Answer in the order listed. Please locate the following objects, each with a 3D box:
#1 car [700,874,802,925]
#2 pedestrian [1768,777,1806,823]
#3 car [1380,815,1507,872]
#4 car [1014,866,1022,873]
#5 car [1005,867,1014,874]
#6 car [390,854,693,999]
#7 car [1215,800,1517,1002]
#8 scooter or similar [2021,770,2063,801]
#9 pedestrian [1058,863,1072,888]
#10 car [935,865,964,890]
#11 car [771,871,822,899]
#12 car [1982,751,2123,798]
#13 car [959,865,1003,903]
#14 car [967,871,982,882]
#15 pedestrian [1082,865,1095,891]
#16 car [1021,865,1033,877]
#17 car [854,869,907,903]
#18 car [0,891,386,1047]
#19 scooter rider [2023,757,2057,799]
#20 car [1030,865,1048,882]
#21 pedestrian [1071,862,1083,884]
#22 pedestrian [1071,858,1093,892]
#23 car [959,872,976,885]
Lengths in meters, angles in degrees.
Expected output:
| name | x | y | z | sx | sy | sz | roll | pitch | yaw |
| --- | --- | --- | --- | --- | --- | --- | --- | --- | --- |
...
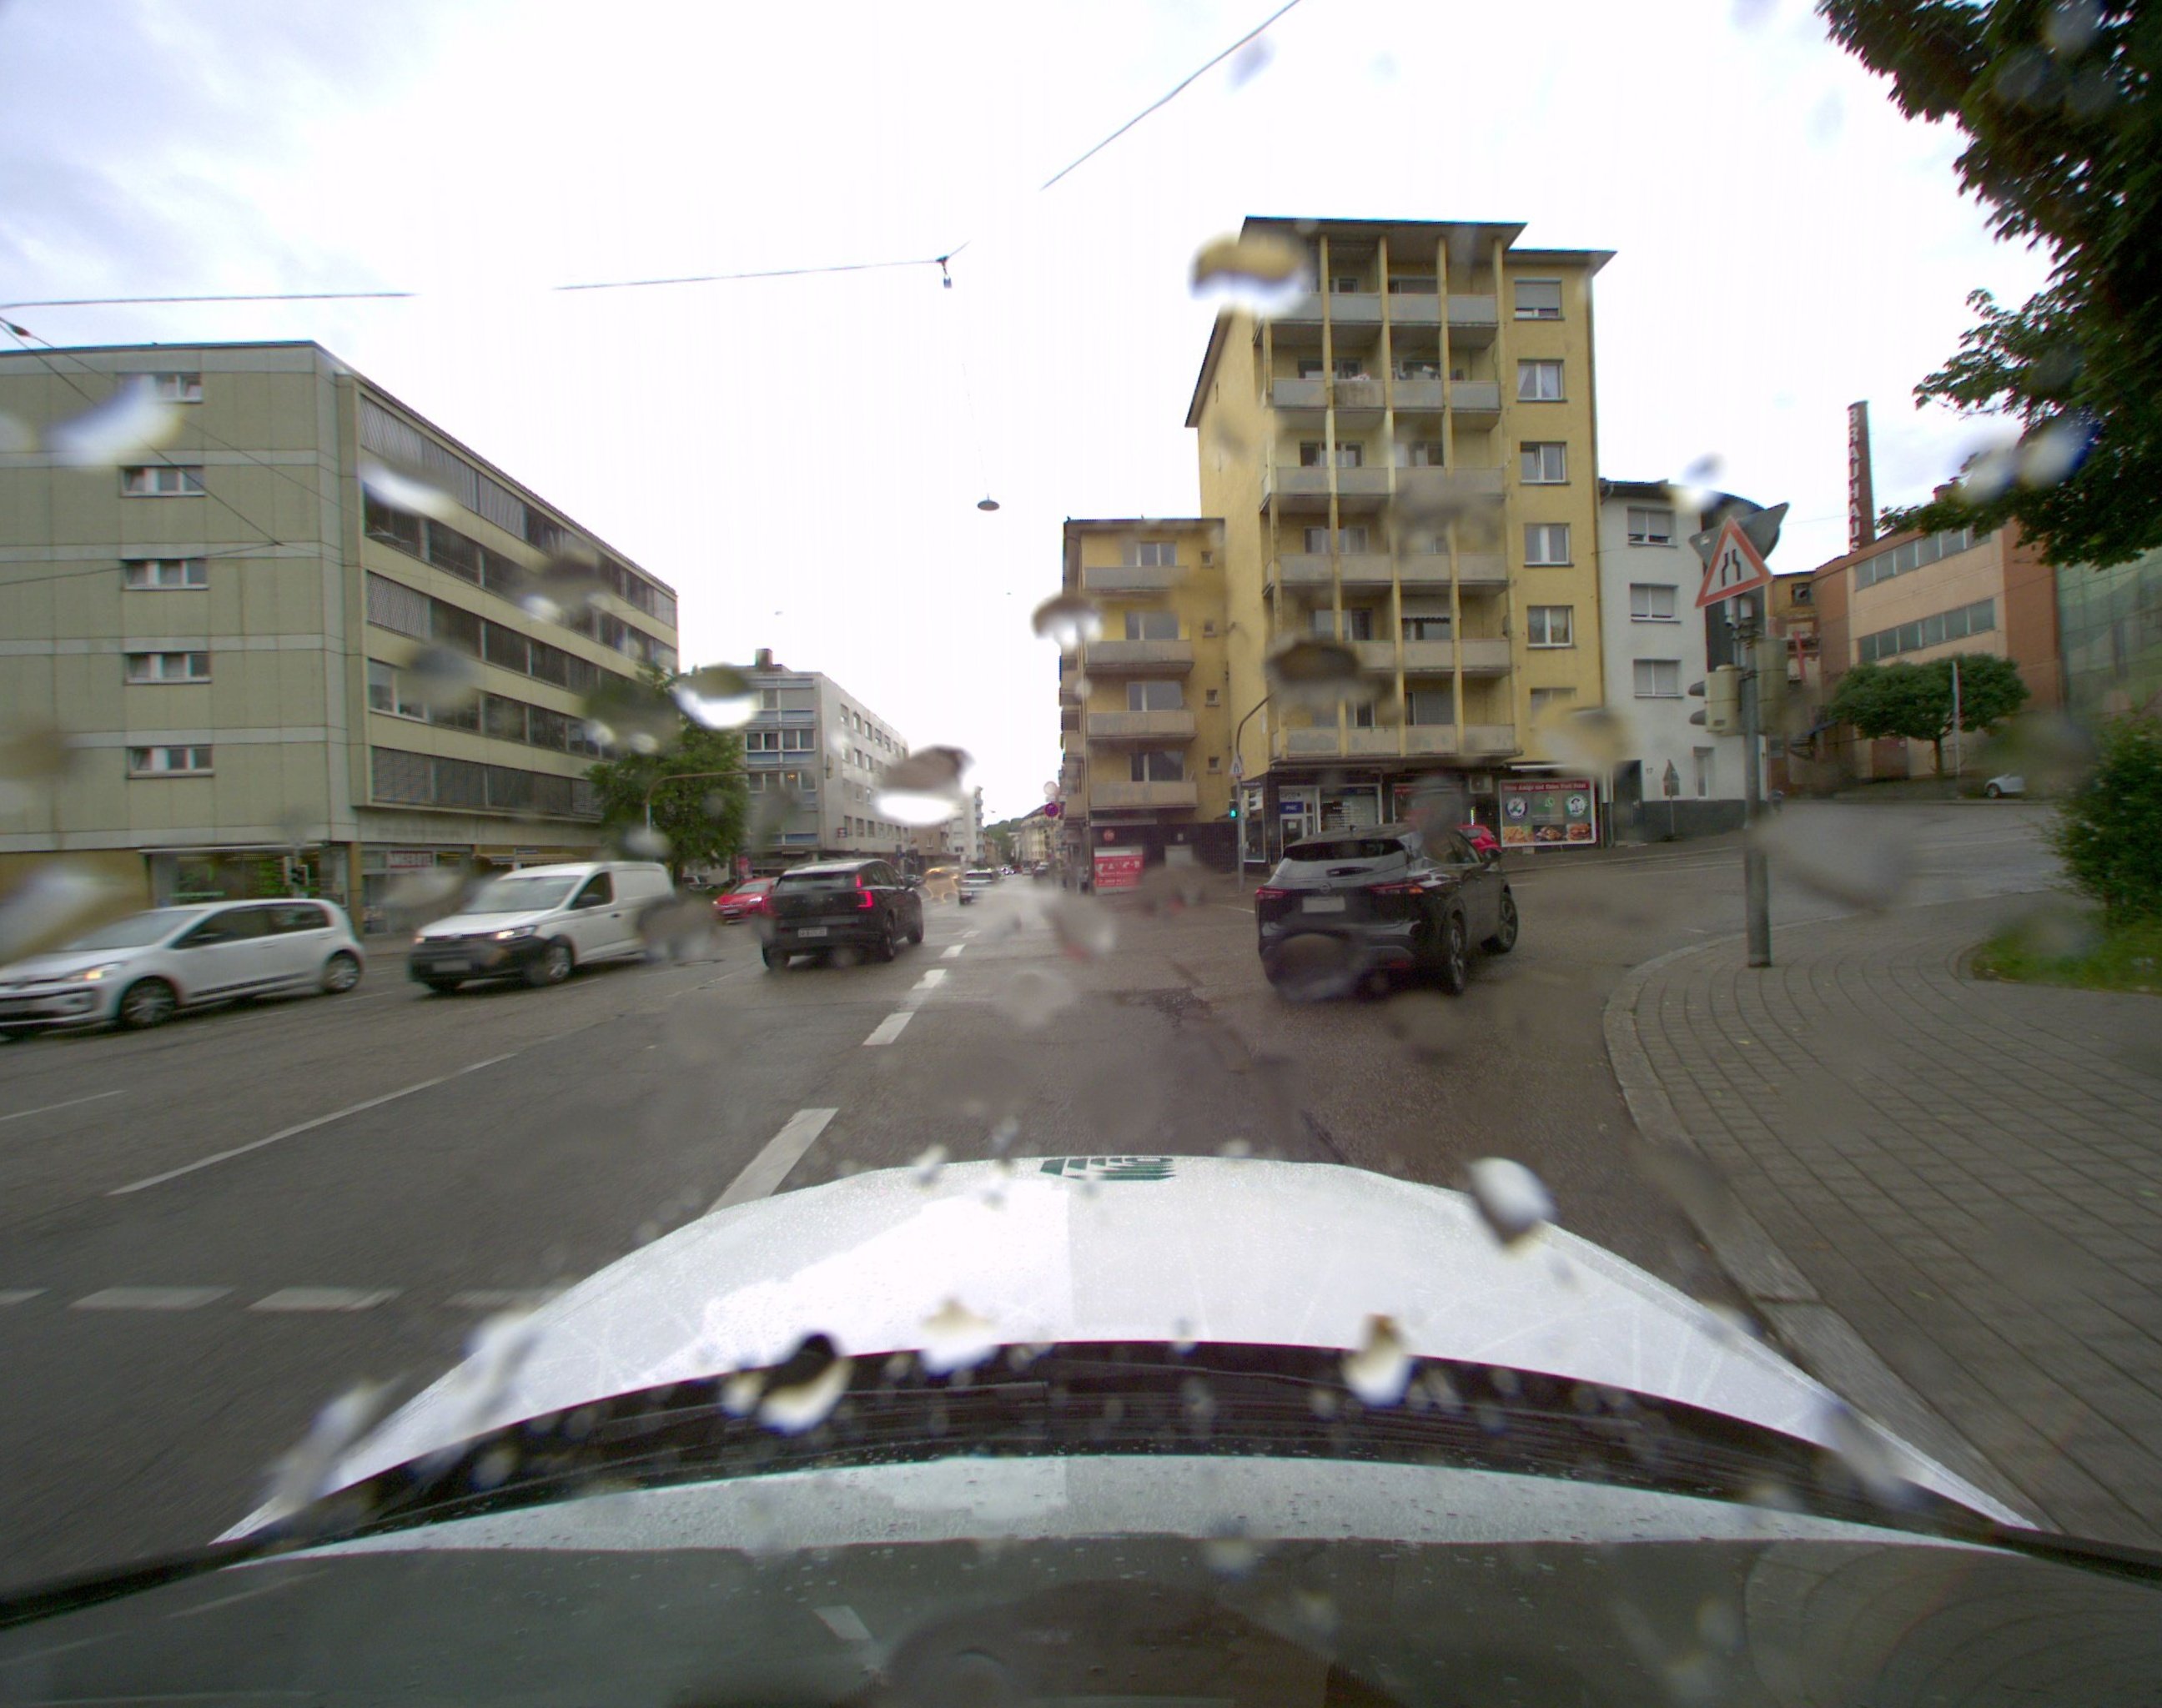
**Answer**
| name | x | y | z | sx | sy | sz | roll | pitch | yaw |
| --- | --- | --- | --- | --- | --- | --- | --- | --- | --- |
| car | -11.328 | 1.522 | 28.305 | 1.800 | 1.409 | 4.388 | -5 | 0 | -2 |
| pedestrian | 32.555 | -2.452 | 37.572 | 0.985 | 2.013 | 1.261 | -4 | 0 | 30 |
| car | 11.801 | -0.357 | 26.615 | 3.465 | 1.557 | 1.471 | -4 | 1 | -4 |
| car | -15.790 | 3.943 | 204.501 | 1.989 | 1.637 | 4.825 | -4 | 0 | -3 |
| car | -16.449 | 3.806 | 187.472 | 1.989 | 1.486 | 3.995 | -4 | 0 | -3 |
| car | -8.248 | 0.971 | 13.057 | 1.773 | 1.816 | 4.406 | -4 | 0 | 1 |
| car | 3.286 | 0.357 | 8.825 | 1.940 | 1.652 | 4.026 | -4 | 0 | 36 |
| scooter or similar | 44.440 | -3.155 | 37.675 | 0.570 | 1.293 | 1.494 | -5 | 0 | 23 |
| pedestrian | -0.984 | 1.321 | 50.282 | 0.700 | 1.558 | 0.631 | -2 | 0 | 7 |
| car | -11.618 | 2.052 | 72.299 | 1.905 | 2.013 | 3.997 | -5 | 0 | -2 |
| car | -17.111 | 1.834 | 49.190 | 1.775 | 1.478 | 3.789 | -4 | 0 | -2 |
| car | 46.821 | -3.791 | 39.442 | 1.906 | 1.711 | 4.729 | -5 | 0 | 14 |
| car | -4.352 | 1.277 | 35.954 | 1.765 | 1.444 | 3.992 | -3 | 0 | -6 |
| car | -16.223 | 3.477 | 124.386 | 1.990 | 1.453 | 3.994 | -5 | 0 | -4 |
| pedestrian | 0.381 | 1.187 | 40.519 | 0.462 | 1.233 | 0.554 | -8 | 0 | -2 |
| car | -10.370 | 3.264 | 156.877 | 1.988 | 2.013 | 3.999 | -4 | 0 | -1 |
| car | -10.837 | 1.697 | 44.287 | 1.773 | 1.596 | 3.793 | -4 | 0 | 1 |
| car | -11.893 | 1.392 | 10.893 | 1.773 | 1.478 | 3.793 | -5 | 0 | 1 |
| scooter rider | 44.432 | -3.518 | 37.735 | 0.662 | 1.806 | 0.688 | -5 | -1 | 23 |
| car | -5.298 | 2.427 | 102.554 | 1.990 | 2.013 | 3.994 | -5 | 0 | -4 |
| pedestrian | -0.282 | 1.361 | 58.899 | 0.623 | 1.558 | 0.708 | -2 | 0 | 12 |
| pedestrian | 0.054 | 1.038 | 40.259 | 0.833 | 1.558 | 0.832 | -8 | 0 | -3 |
| car | -15.302 | 3.292 | 109.667 | 1.991 | 1.453 | 3.992 | -5 | 0 | -5 |
